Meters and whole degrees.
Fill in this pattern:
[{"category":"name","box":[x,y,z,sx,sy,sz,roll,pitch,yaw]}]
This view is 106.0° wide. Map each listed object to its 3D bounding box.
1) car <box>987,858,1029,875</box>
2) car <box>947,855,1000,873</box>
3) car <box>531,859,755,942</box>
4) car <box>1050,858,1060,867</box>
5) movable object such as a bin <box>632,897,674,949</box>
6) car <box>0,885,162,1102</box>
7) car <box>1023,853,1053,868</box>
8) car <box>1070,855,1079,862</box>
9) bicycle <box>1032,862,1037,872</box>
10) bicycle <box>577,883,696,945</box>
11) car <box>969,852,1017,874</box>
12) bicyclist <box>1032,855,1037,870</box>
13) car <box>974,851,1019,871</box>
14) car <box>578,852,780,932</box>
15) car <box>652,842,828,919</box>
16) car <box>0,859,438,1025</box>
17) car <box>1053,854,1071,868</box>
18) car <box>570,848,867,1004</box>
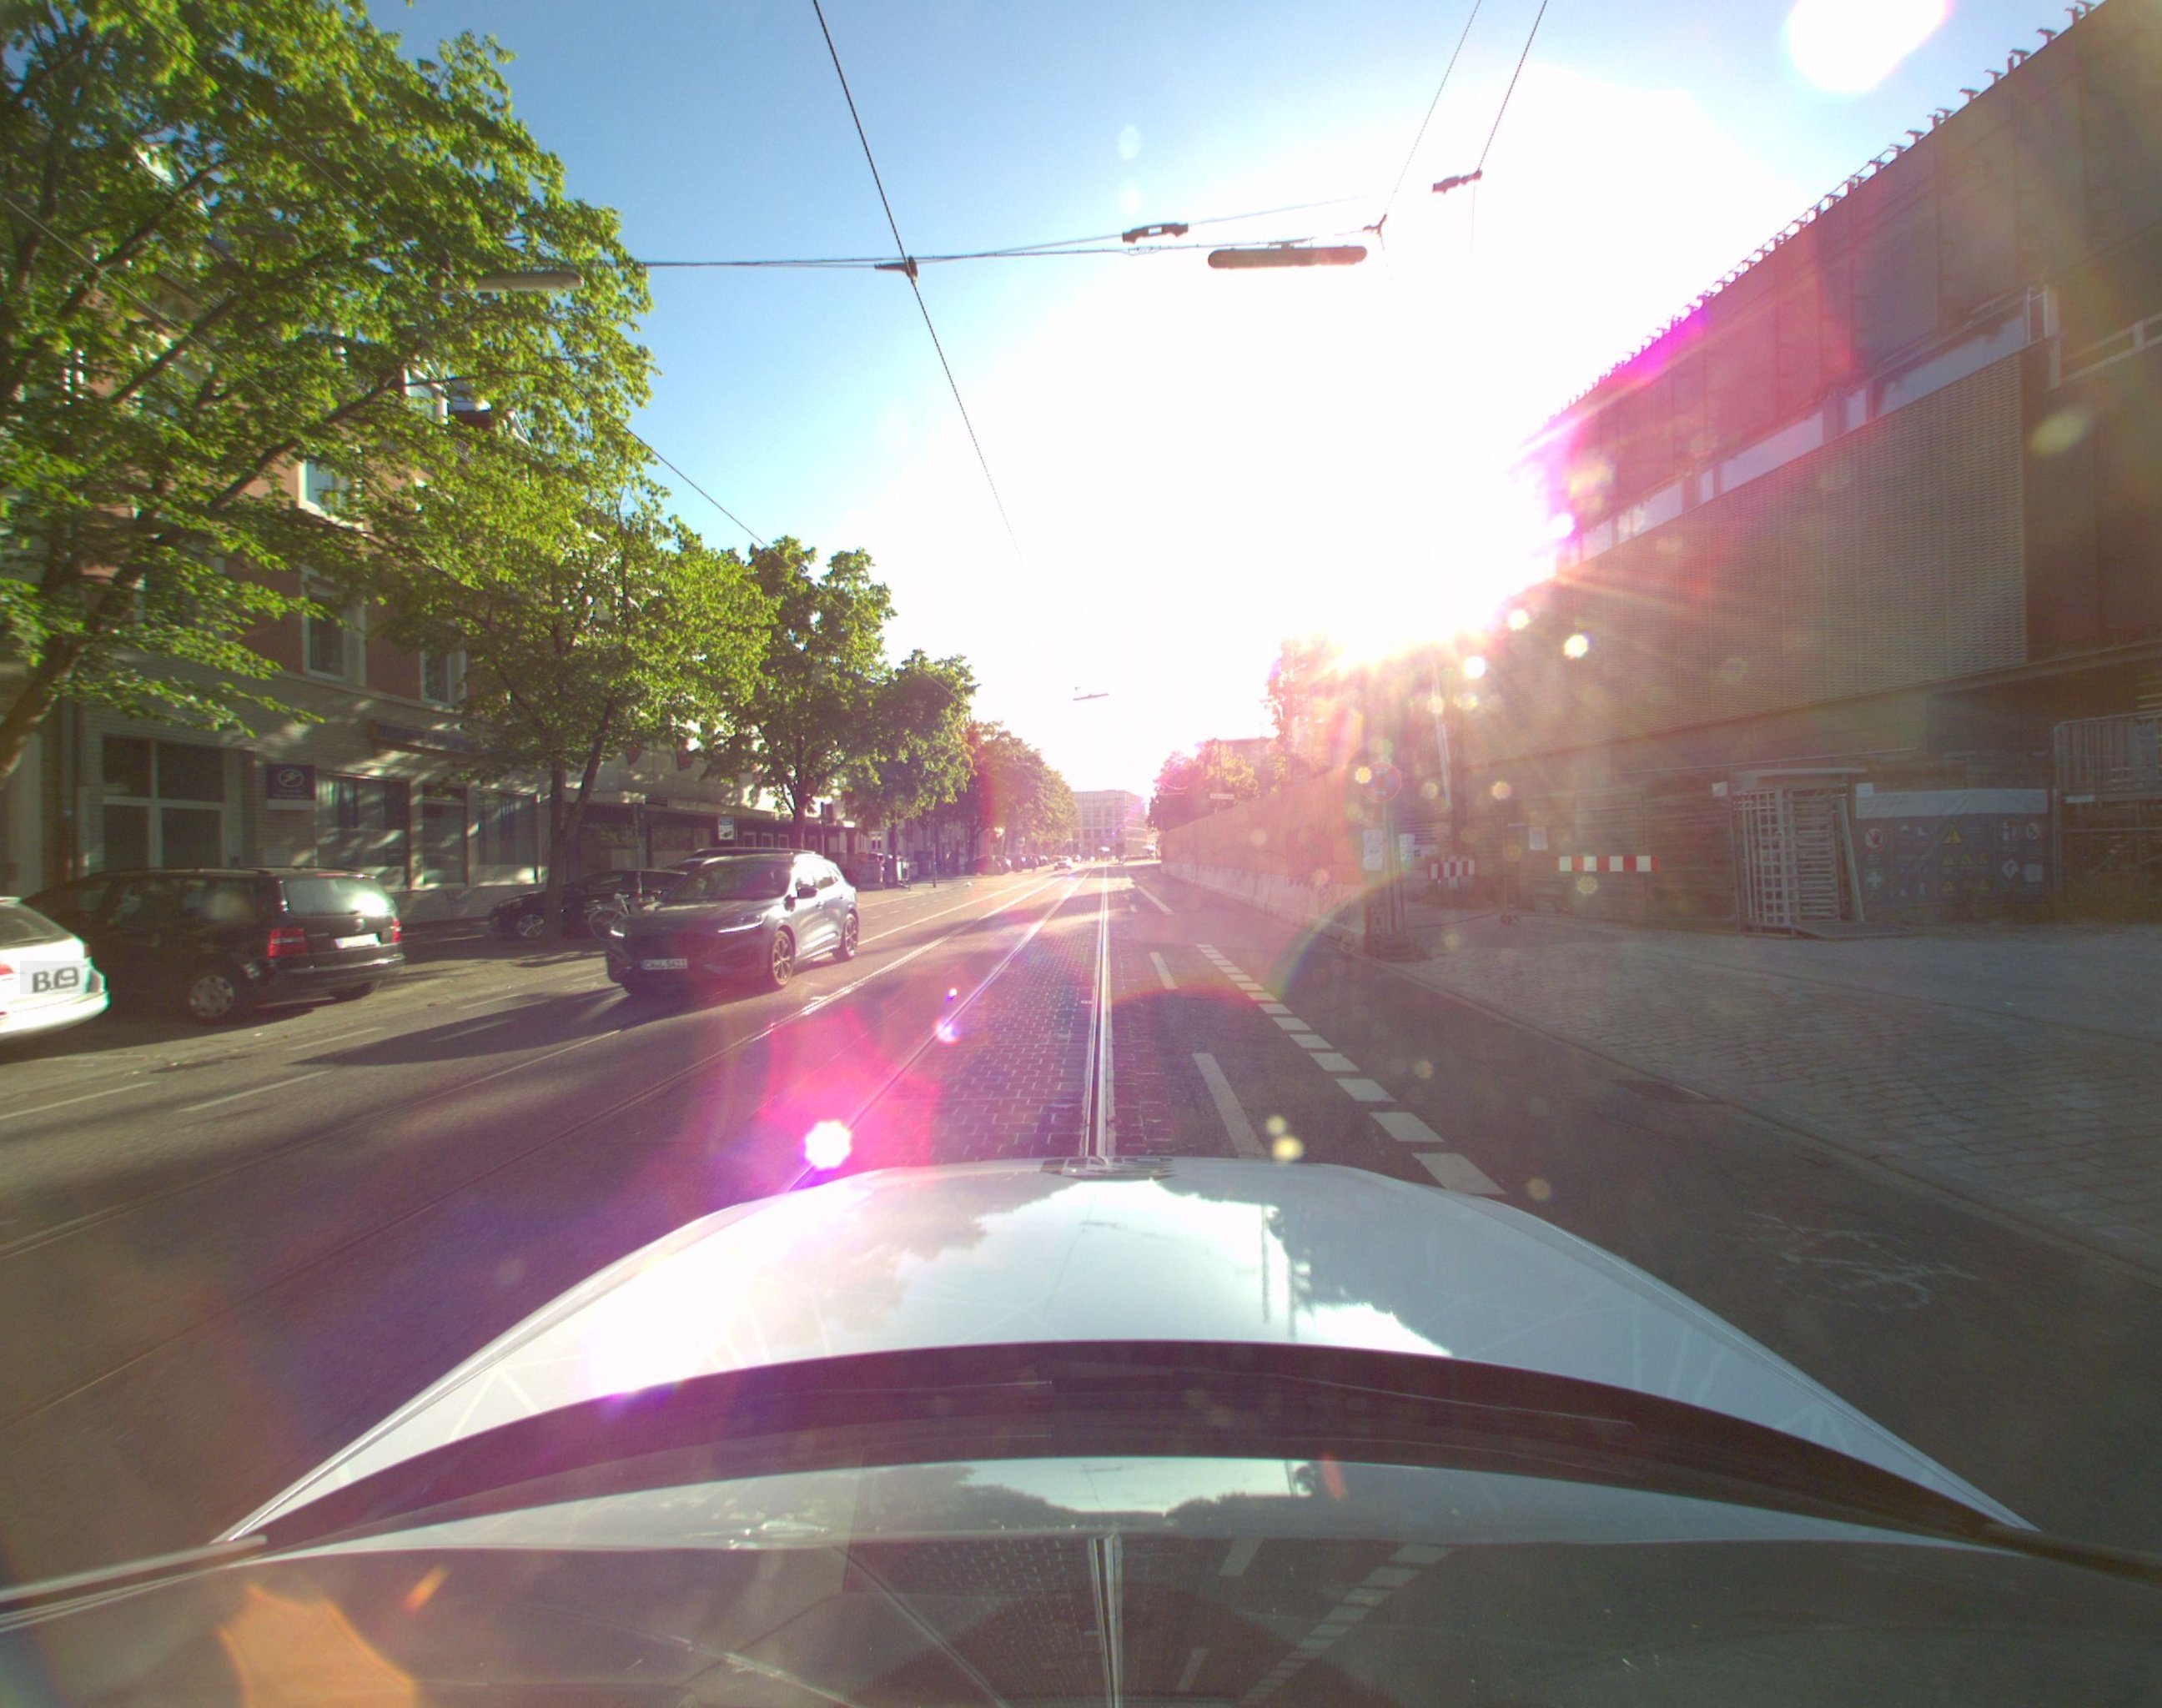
[{"category":"car","box":[-7.844,1.318,87.201,4.181,1.721,1.570,-1,0,-26]},{"category":"car","box":[-8.687,0.814,65.629,3.927,1.453,1.621,0,-1,-32]},{"category":"car","box":[-9.216,0.923,17.501,3.864,1.476,1.833,-2,0,-17]},{"category":"car","box":[-4.864,1.611,153.343,1.567,1.490,4.002,-2,0,2]},{"category":"movable object such as a bin","box":[-8.143,1.306,15.502,0.576,0.913,0.572,0,1,-14]},{"category":"car","box":[-10.099,1.055,5.920,4.124,1.512,1.826,0,0,-25]},{"category":"car","box":[-5.148,0.780,97.465,3.391,1.697,1.393,-1,0,-26]},{"category":"car","box":[-1.413,1.020,181.281,1.550,1.530,4.007,-2,0,6]},{"category":"bicycle","box":[-4.331,1.226,76.223,0.448,0.881,1.899,-2,0,-3]},{"category":"bicycle","box":[-8.698,1.160,16.010,1.970,1.144,0.490,0,-1,-17]},{"category":"car","box":[-7.423,0.777,69.117,3.700,1.721,1.594,-2,0,-34]},{"category":"bicyclist","box":[-4.330,0.811,76.225,0.456,1.378,0.640,-2,0,-3]},{"category":"car","box":[-7.668,0.654,74.067,3.700,1.721,1.594,-2,0,-34]},{"category":"car","box":[-9.834,0.891,20.323,4.249,1.685,1.799,-2,0,-19]},{"category":"car","box":[-9.418,0.697,22.832,4.369,1.986,1.936,0,-1,-20]},{"category":"car","box":[-10.233,0.928,9.388,4.092,1.678,1.840,1,0,-1]},{"category":"car","box":[-1.995,0.729,86.797,1.703,1.436,4.171,-2,0,0]},{"category":"car","box":[-4.473,0.786,10.903,1.920,1.629,4.250,-2,0,2]}]
